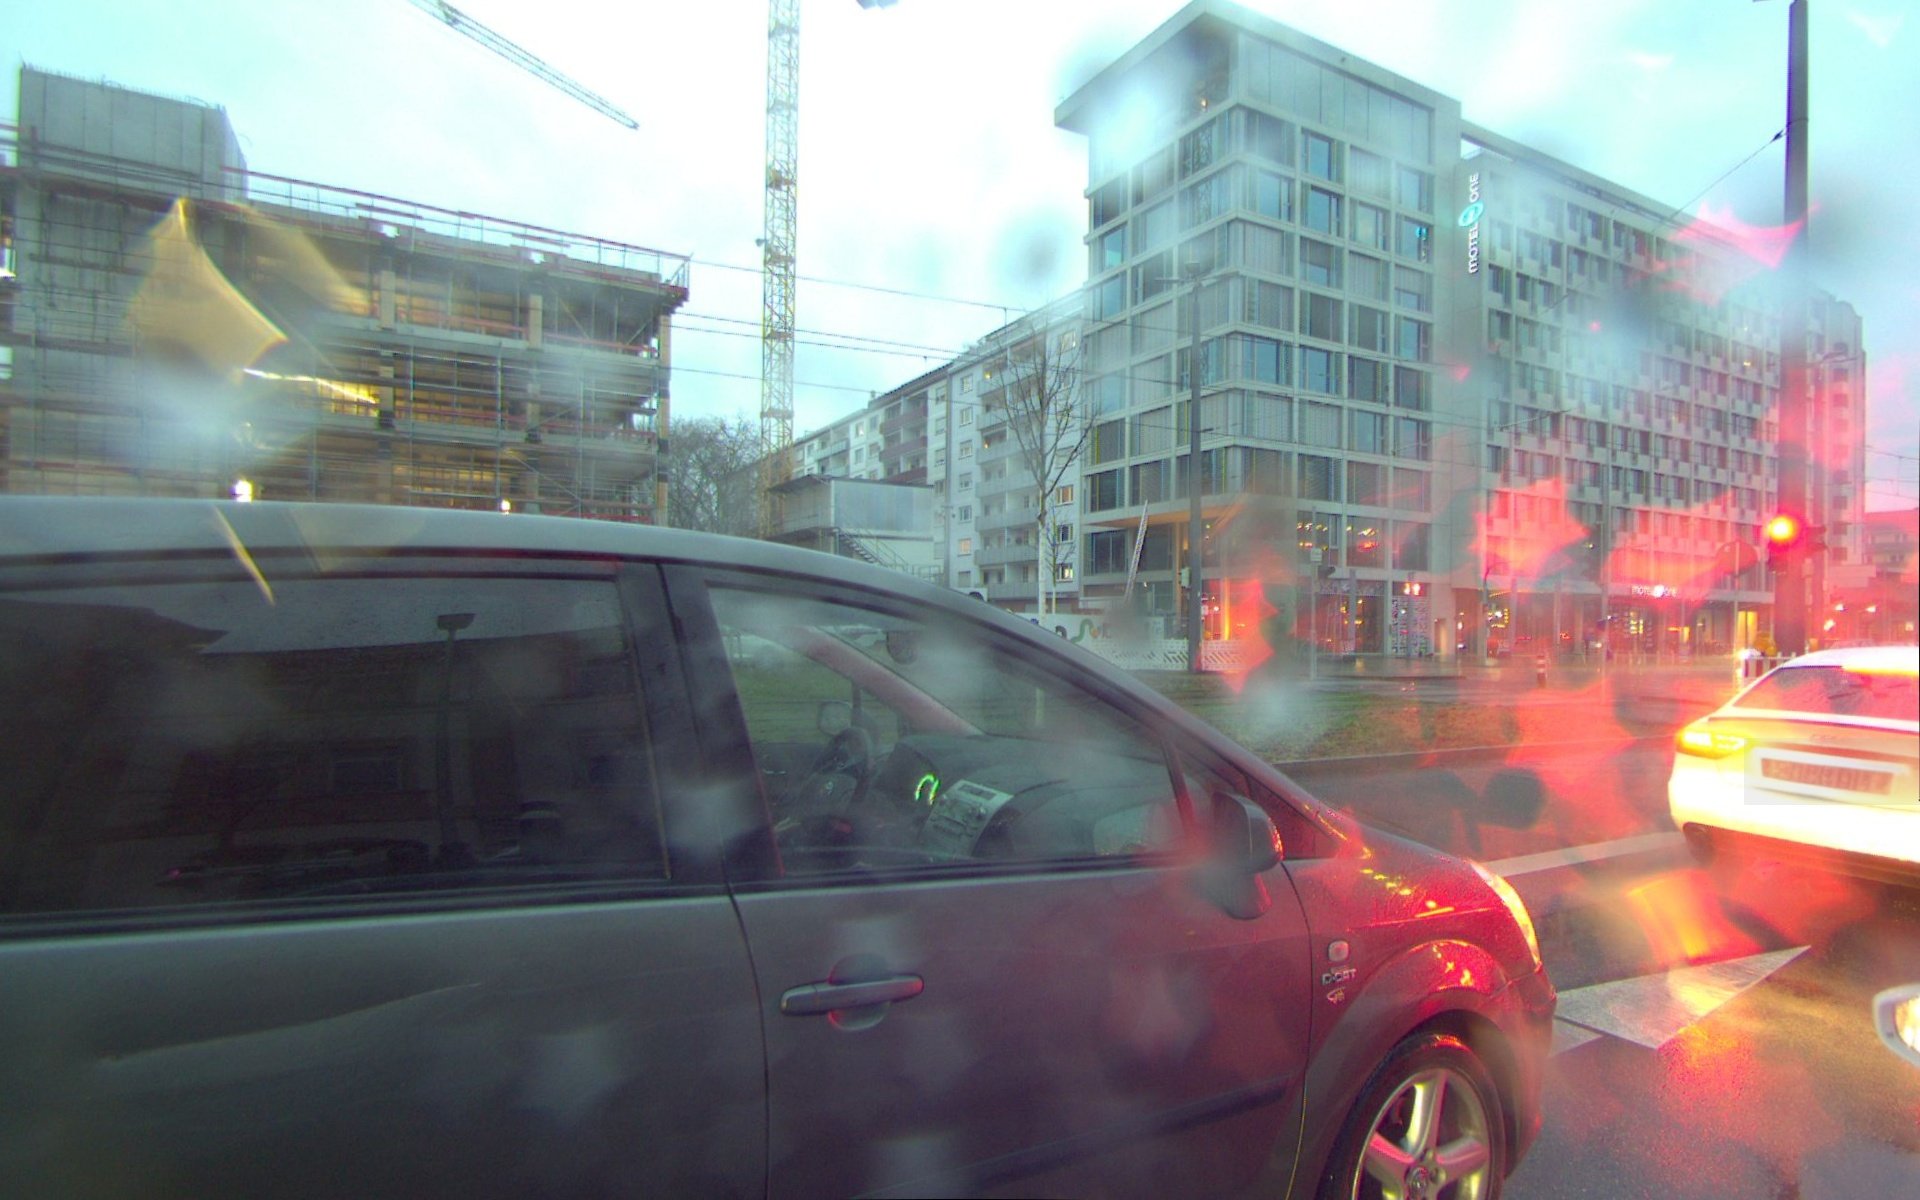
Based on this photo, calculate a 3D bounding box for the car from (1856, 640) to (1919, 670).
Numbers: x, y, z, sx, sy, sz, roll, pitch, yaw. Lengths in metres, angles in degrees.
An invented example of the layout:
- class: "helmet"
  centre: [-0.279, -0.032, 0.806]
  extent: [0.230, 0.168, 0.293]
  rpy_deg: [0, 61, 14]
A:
- class: "car"
  centre: [51.093, 3.000, 54.867]
  extent: [5.041, 1.481, 1.982]
  rpy_deg: [2, 0, -33]

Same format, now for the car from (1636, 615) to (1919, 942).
- class: "car"
  centre: [6.081, 0.900, 6.086]
  extent: [4.205, 1.489, 1.750]
  rpy_deg: [2, 0, -32]

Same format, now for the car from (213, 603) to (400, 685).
- class: "car"
  centre: [-18.306, 1.239, 28.373]
  extent: [4.023, 2.151, 1.949]
  rpy_deg: [2, 0, -21]

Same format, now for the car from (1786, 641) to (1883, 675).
- class: "car"
  centre: [41.959, 2.754, 48.182]
  extent: [5.035, 1.481, 1.984]
  rpy_deg: [2, 0, -30]

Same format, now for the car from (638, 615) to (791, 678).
- class: "car"
  centre: [-7.206, 1.351, 29.509]
  extent: [4.031, 1.709, 1.945]
  rpy_deg: [2, 0, -27]

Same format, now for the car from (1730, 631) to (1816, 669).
- class: "car"
  centre: [41.822, 2.566, 51.657]
  extent: [4.543, 1.813, 1.873]
  rpy_deg: [2, 0, -30]

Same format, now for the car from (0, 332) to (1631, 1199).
- class: "car"
  centre: [-0.500, 0.591, 2.140]
  extent: [3.956, 1.615, 1.750]
  rpy_deg: [2, 0, -32]
